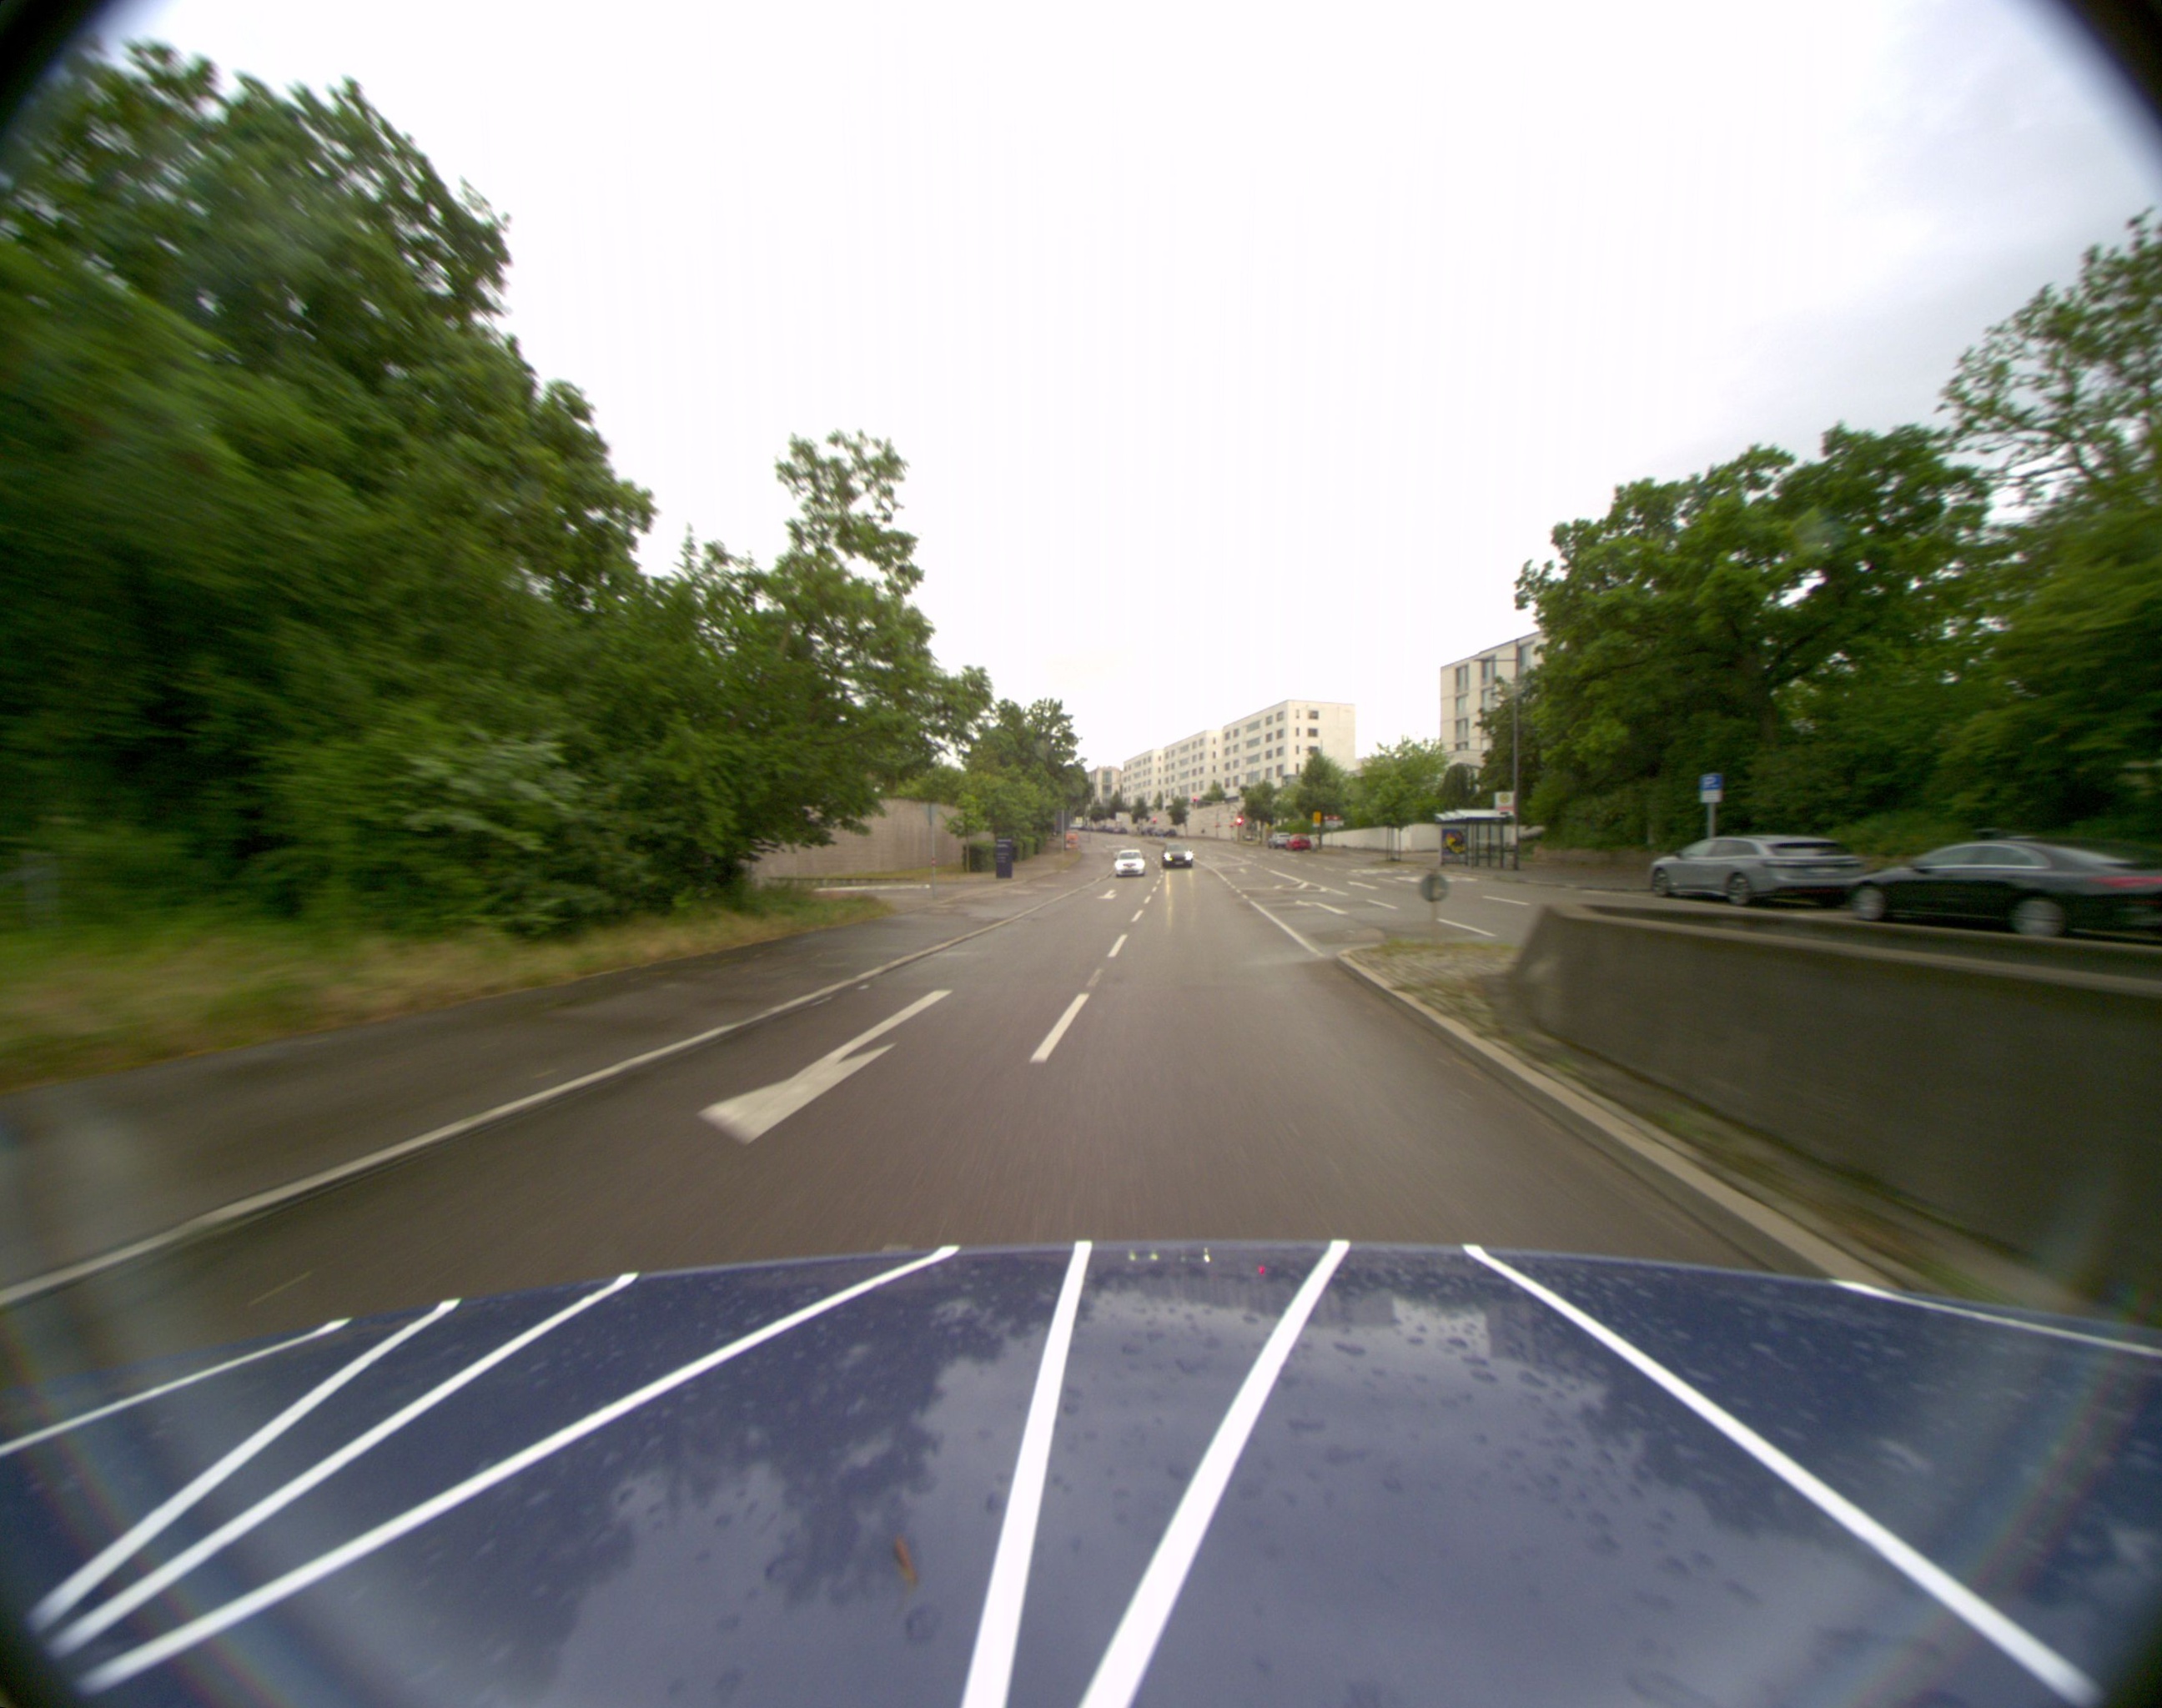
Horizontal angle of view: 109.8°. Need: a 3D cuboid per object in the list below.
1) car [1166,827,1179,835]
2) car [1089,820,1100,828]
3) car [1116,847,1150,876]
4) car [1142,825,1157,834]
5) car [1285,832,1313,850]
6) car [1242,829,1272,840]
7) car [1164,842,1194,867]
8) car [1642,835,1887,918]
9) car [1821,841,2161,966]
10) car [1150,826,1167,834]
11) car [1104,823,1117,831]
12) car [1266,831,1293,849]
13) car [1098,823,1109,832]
[{"bbox_3d":[17.363,-4.448,144.242,1.682,1.451,2.691,-1,3,-16],"label":"car"},{"bbox_3d":[3.495,-7.915,203.007,1.926,2.002,4.380,-2,2,-12],"label":"car"},{"bbox_3d":[3.182,0.422,46.203,1.926,1.652,4.001,-1,0,5],"label":"car"},{"bbox_3d":[13.944,-5.020,154.271,1.791,1.623,3.992,-1,3,-15],"label":"car"},{"bbox_3d":[20.802,-1.274,72.677,1.669,1.578,4.215,0,3,2],"label":"car"},{"bbox_3d":[29.603,-3.299,127.862,4.349,1.643,1.996,-1,3,-16],"label":"car"},{"bbox_3d":[6.908,-0.004,53.895,1.829,1.584,4.000,-2,1,4],"label":"car"},{"bbox_3d":[15.309,0.386,17.480,1.844,1.580,4.931,-2,1,10],"label":"car"},{"bbox_3d":[14.180,0.574,11.490,1.909,1.406,4.785,-2,1,10],"label":"car"},{"bbox_3d":[15.248,-4.763,149.827,1.864,1.470,3.993,-1,3,-15],"label":"car"},{"bbox_3d":[7.186,-6.561,184.458,1.926,2.002,4.380,-2,2,-12],"label":"car"},{"bbox_3d":[20.763,-1.519,79.618,1.768,1.644,4.882,-2,3,2],"label":"car"},{"bbox_3d":[5.633,-6.653,190.259,1.926,2.002,4.380,-2,2,-12],"label":"car"}]
